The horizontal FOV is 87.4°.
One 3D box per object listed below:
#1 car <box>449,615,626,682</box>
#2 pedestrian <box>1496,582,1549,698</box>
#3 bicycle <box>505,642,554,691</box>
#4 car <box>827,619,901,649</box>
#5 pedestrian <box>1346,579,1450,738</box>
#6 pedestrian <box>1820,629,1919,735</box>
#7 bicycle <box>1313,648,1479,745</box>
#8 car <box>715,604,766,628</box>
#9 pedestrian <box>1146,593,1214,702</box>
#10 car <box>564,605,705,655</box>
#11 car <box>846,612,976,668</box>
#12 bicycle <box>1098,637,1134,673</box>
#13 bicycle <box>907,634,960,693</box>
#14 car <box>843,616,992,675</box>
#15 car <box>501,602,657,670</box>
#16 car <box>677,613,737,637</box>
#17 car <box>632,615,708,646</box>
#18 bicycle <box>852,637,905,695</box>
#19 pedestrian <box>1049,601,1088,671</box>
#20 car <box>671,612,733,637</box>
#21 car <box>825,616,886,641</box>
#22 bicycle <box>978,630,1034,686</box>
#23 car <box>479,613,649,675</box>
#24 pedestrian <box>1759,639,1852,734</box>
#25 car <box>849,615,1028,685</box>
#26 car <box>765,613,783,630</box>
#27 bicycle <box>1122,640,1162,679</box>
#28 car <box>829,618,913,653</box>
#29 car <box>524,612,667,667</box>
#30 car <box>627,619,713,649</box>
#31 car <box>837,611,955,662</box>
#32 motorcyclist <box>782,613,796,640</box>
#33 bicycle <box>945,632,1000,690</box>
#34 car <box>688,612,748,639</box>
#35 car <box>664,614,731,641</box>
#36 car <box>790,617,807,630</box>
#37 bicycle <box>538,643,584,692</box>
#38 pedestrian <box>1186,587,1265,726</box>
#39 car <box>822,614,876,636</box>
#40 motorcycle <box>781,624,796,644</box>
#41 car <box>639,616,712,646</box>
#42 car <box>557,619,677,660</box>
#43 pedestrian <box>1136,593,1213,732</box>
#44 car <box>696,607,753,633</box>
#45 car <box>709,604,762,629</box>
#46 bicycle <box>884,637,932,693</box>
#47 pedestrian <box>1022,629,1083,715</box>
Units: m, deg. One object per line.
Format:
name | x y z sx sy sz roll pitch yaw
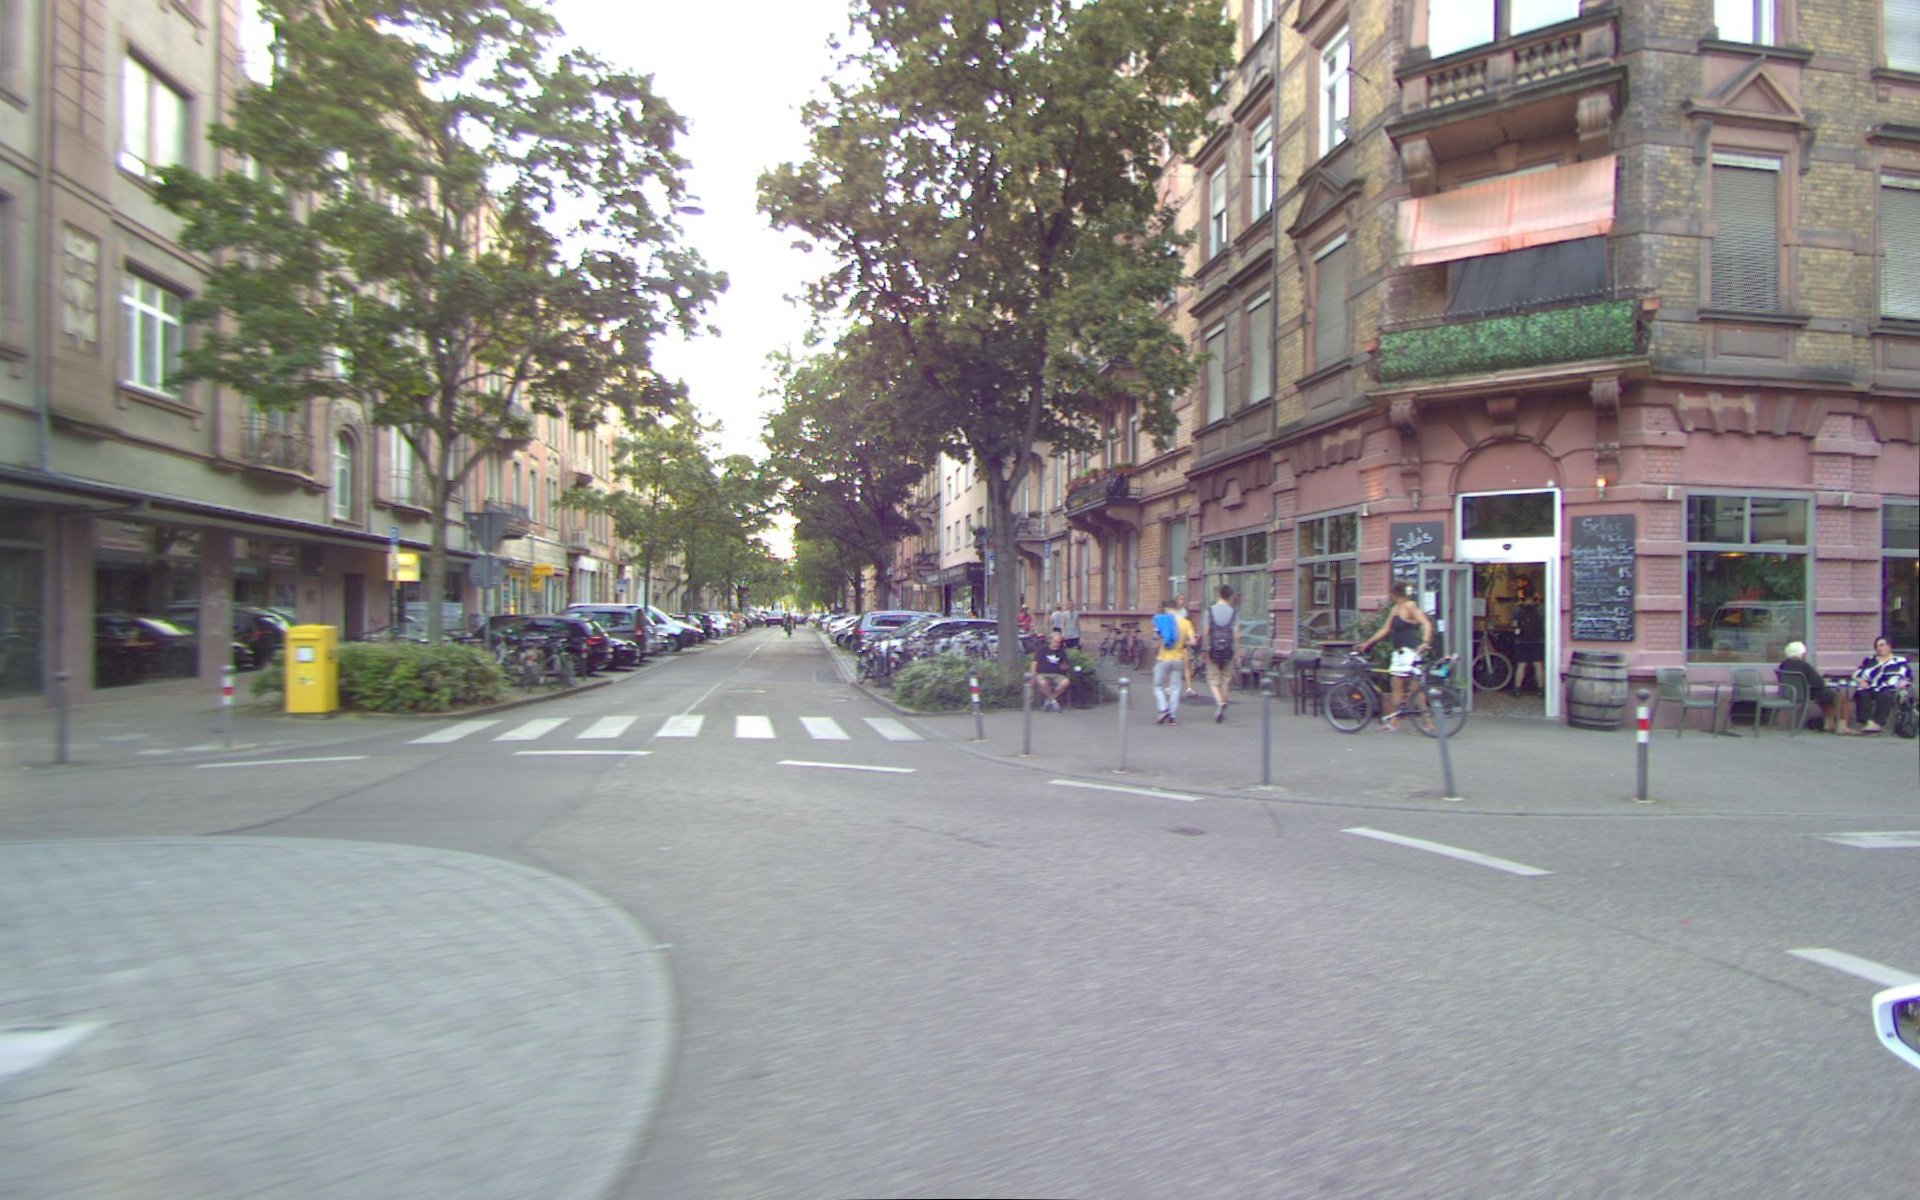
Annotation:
car | -10.186 1.171 24.482 3.621 1.496 1.719 2 -2 -10
pedestrian | 8.690 0.598 15.524 0.654 1.719 0.655 1 4 34
bicycle | -8.834 1.351 20.665 0.468 0.907 1.488 2 0 -5
car | -5.582 1.954 58.182 4.056 1.610 1.763 2 0 -11
pedestrian | 5.449 0.695 12.501 1.007 1.880 0.721 -1 1 41
pedestrian | 11.747 1.033 12.949 0.896 1.271 0.646 -1 3 -25
bicycle | 5.284 1.137 12.246 1.749 1.039 0.609 -1 1 41
car | -18.271 1.323 83.799 3.924 1.895 1.999 2 0 -5
pedestrian | 3.885 0.816 17.773 0.743 1.835 1.046 -2 1 -14
car | -13.072 1.230 40.632 5.013 1.854 2.116 2 -2 -7
car | -1.804 1.411 35.994 4.394 1.824 1.974 2 0 -11
bicycle | 4.152 1.464 26.799 0.587 0.901 1.494 0 -1 -6
bicycle | -0.629 1.425 23.101 0.677 1.219 1.804 -1 1 -20
car | -1.357 1.405 31.280 4.394 1.647 1.886 2 0 -10
car | -11.143 1.073 29.657 3.928 1.862 1.997 2 -2 -10
car | -17.047 1.720 67.899 3.743 1.528 1.718 2 -2 -10
car | -15.597 1.656 54.161 3.743 1.528 1.718 2 -2 -10
bicycle | -1.867 1.449 22.686 0.695 1.192 1.944 -1 0 -19
pedestrian | 2.754 0.900 25.619 0.683 1.748 0.850 -2 1 -14
car | -16.907 1.590 65.971 3.743 1.528 1.718 2 -2 -10
car | -7.242 1.948 69.295 4.056 1.610 1.763 2 0 -11
bicycle | 1.068 1.336 23.542 0.677 1.200 1.804 -1 1 -20
car | -10.554 1.170 27.039 3.930 1.530 1.848 2 -2 -12
pedestrian | 10.774 1.095 12.807 0.777 1.158 0.504 2 0 -8
car | -0.605 1.290 26.129 4.394 1.647 1.886 2 0 -10
car | -21.426 2.443 115.733 1.908 1.771 3.991 2 0 -11
bicycle | 4.480 1.464 24.830 0.587 0.901 1.494 0 -1 -6
car | -4.541 1.804 50.972 4.056 1.610 1.763 2 0 -11
car | -11.461 1.241 31.820 3.928 1.595 1.905 2 -2 -10
car | -13.812 1.631 48.014 3.743 1.329 1.718 2 -2 -10
car | -2.551 1.432 39.546 4.394 1.824 1.974 2 0 -11
motorcyclist | -11.667 1.791 68.506 0.890 1.820 1.099 2 0 -12
bicycle | 0.271 1.394 23.374 0.677 1.235 1.804 -1 1 -20
car | -17.601 1.823 73.095 3.924 1.809 1.999 2 0 -5
car | -15.982 1.675 61.246 3.743 1.528 1.718 2 -2 -10
car | -21.137 3.019 131.448 1.854 1.539 3.989 2 0 -14
bicycle | -8.203 1.379 20.693 0.468 0.907 1.488 2 0 -5
pedestrian | 3.699 0.761 14.068 0.744 1.853 0.887 -2 1 -8
car | -8.770 1.962 79.120 4.056 1.610 1.763 2 0 -11
motorcycle | -11.673 2.311 68.430 0.890 1.229 2.504 2 0 -12
car | -15.890 1.736 56.299 3.743 1.528 1.718 2 -2 -10
car | -12.050 1.406 35.508 3.743 1.329 1.718 2 -2 -10
pedestrian | 2.937 0.829 13.797 0.745 1.815 0.786 -2 1 -12
car | -17.987 1.525 76.902 3.924 1.895 1.999 2 0 -5
car | -18.179 1.344 81.576 3.924 1.895 1.999 2 0 -5
bicycle | -1.205 1.453 22.821 0.576 1.173 1.800 -1 0 -19
pedestrian | 1.502 1.152 16.317 0.723 1.322 0.790 -2 -1 -14
